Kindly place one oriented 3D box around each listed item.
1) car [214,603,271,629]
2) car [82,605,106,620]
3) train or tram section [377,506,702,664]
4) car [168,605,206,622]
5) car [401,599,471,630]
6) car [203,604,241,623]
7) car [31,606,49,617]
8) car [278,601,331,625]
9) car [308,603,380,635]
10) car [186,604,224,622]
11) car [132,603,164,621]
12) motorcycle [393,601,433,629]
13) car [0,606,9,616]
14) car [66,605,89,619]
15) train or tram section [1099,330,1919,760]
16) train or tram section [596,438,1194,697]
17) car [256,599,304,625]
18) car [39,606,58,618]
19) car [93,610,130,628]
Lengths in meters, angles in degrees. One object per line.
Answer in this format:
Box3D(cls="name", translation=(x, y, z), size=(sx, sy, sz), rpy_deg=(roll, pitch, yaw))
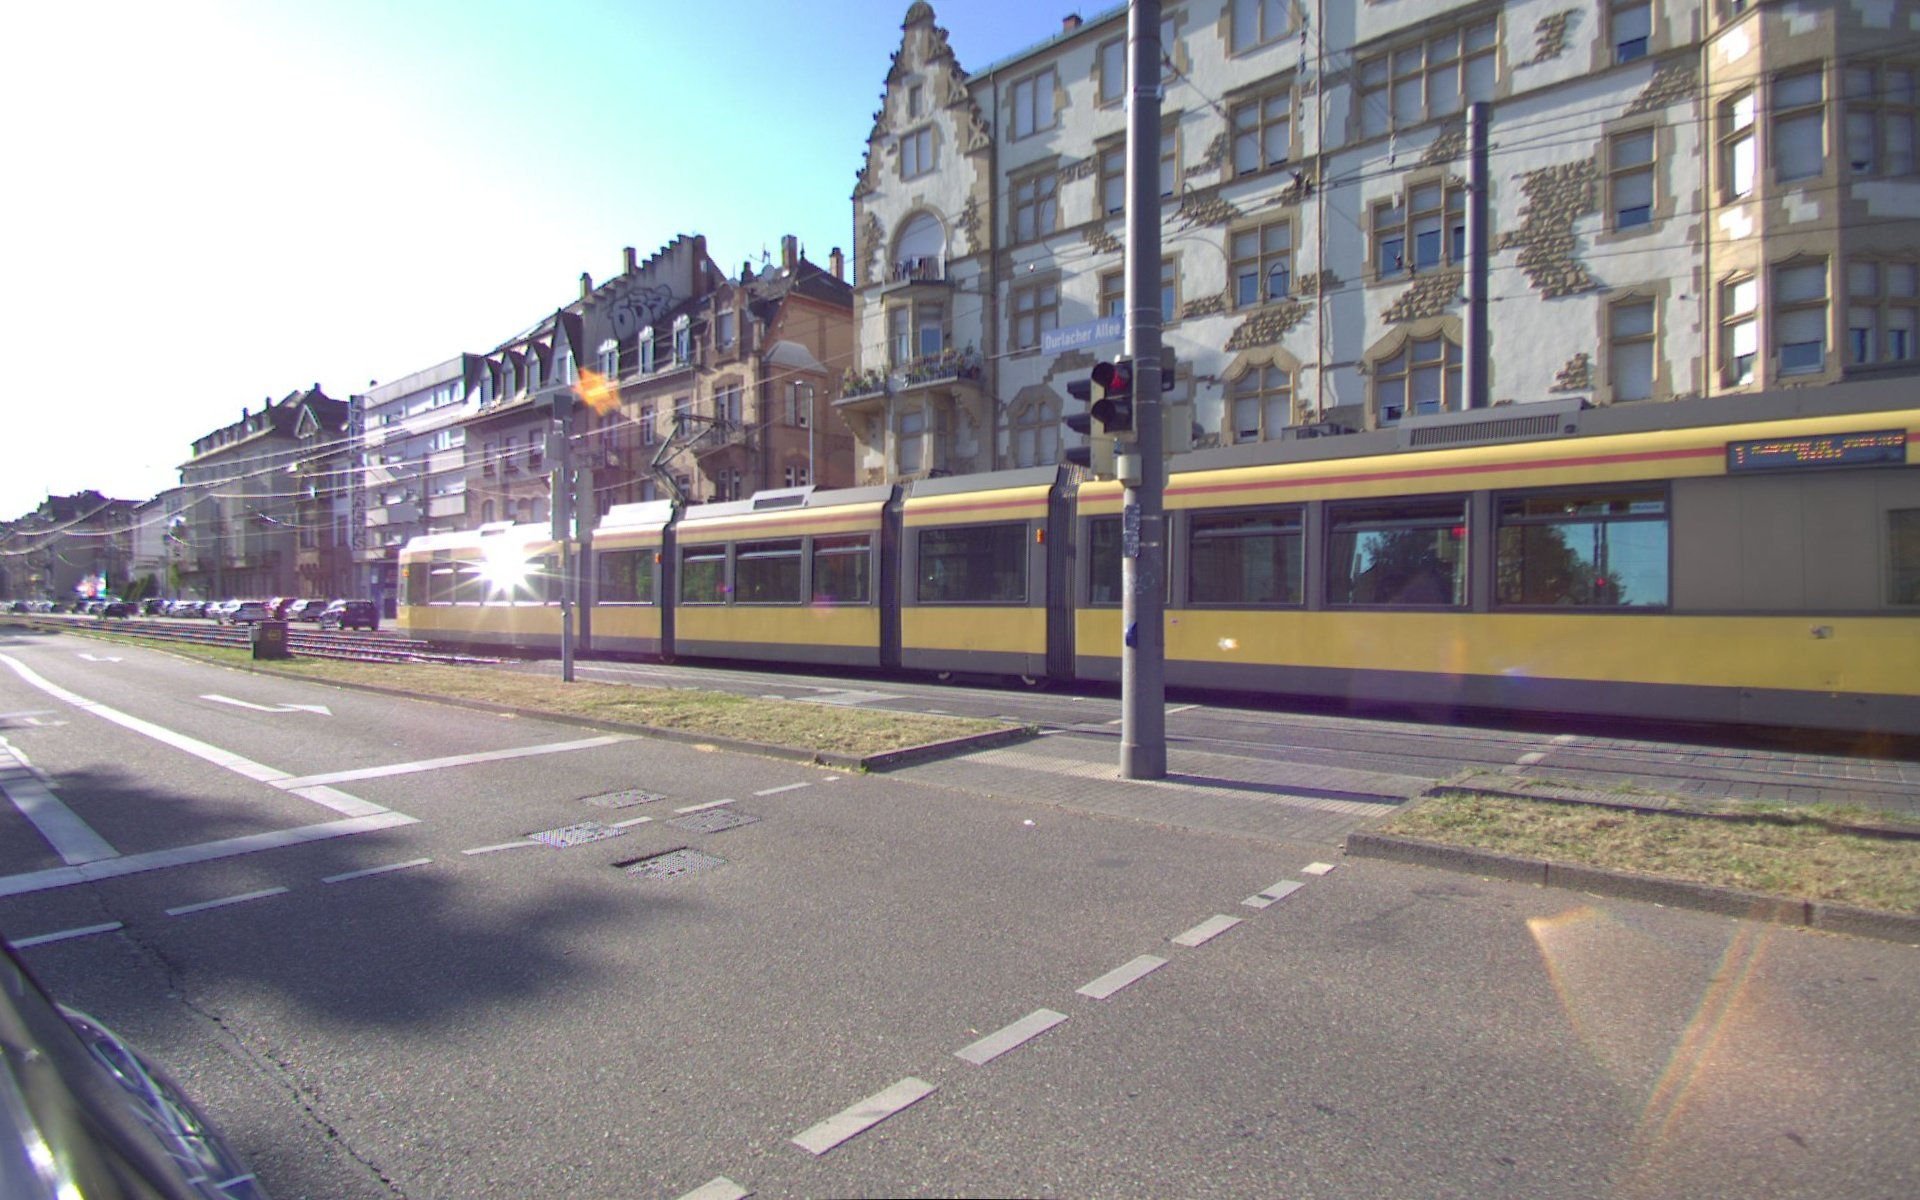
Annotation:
Box3D(cls="car", translation=(-42.724, 0.916, 60.188), size=(4.539, 1.468, 1.801), rpy_deg=(-1, 0, 42))
Box3D(cls="car", translation=(-102.046, 1.433, 119.298), size=(3.407, 1.644, 1.656), rpy_deg=(-1, 1, 42))
Box3D(cls="train or tram section", translation=(-12.132, -0.292, 27.899), size=(13.198, 3.515, 2.783), rpy_deg=(-1, 0, 41))
Box3D(cls="car", translation=(-69.370, 1.199, 90.805), size=(3.531, 1.457, 1.624), rpy_deg=(-1, 1, 34))
Box3D(cls="car", translation=(-28.348, 0.794, 54.718), size=(4.207, 1.510, 1.837), rpy_deg=(-1, 3, 40))
Box3D(cls="car", translation=(-61.926, 1.107, 84.849), size=(3.822, 1.490, 1.779), rpy_deg=(-1, 1, 42))
Box3D(cls="car", translation=(-135.600, 1.710, 149.115), size=(3.449, 1.602, 1.603), rpy_deg=(0, 2, 41))
Box3D(cls="car", translation=(-45.295, 0.915, 69.876), size=(4.379, 1.510, 1.837), rpy_deg=(-1, 2, 40))
Box3D(cls="car", translation=(-29.174, 0.869, 47.900), size=(4.155, 1.468, 1.801), rpy_deg=(-1, 0, 42))
Box3D(cls="car", translation=(-65.935, 1.131, 88.350), size=(3.819, 1.441, 1.780), rpy_deg=(-1, 1, 40))
Box3D(cls="car", translation=(-81.742, 1.179, 101.865), size=(3.914, 1.749, 1.851), rpy_deg=(-1, 1, 42))
Box3D(cls="motorcycle", translation=(-30.990, 0.850, 57.356), size=(0.628, 1.432, 1.836), rpy_deg=(-2, 1, 41))
Box3D(cls="car", translation=(-167.563, 1.933, 176.934), size=(3.449, 1.602, 1.603), rpy_deg=(0, 2, 41))
Box3D(cls="car", translation=(-113.035, 1.523, 129.633), size=(3.879, 1.800, 1.705), rpy_deg=(0, 2, 41))
Box3D(cls="train or tram section", translation=(7.339, -0.441, 10.581), size=(12.148, 3.515, 2.783), rpy_deg=(-1, 0, 41))
Box3D(cls="train or tram section", translation=(-2.210, -0.393, 19.127), size=(13.198, 3.515, 2.783), rpy_deg=(-1, 0, 41))
Box3D(cls="car", translation=(-49.346, 0.864, 73.399), size=(4.262, 1.700, 1.836), rpy_deg=(-1, 2, 42))
Box3D(cls="car", translation=(-128.897, 1.673, 143.138), size=(3.449, 1.602, 1.603), rpy_deg=(0, 2, 41))
Box3D(cls="car", translation=(-73.567, 1.645, 87.748), size=(4.163, 1.468, 1.801), rpy_deg=(-1, 0, 41))
